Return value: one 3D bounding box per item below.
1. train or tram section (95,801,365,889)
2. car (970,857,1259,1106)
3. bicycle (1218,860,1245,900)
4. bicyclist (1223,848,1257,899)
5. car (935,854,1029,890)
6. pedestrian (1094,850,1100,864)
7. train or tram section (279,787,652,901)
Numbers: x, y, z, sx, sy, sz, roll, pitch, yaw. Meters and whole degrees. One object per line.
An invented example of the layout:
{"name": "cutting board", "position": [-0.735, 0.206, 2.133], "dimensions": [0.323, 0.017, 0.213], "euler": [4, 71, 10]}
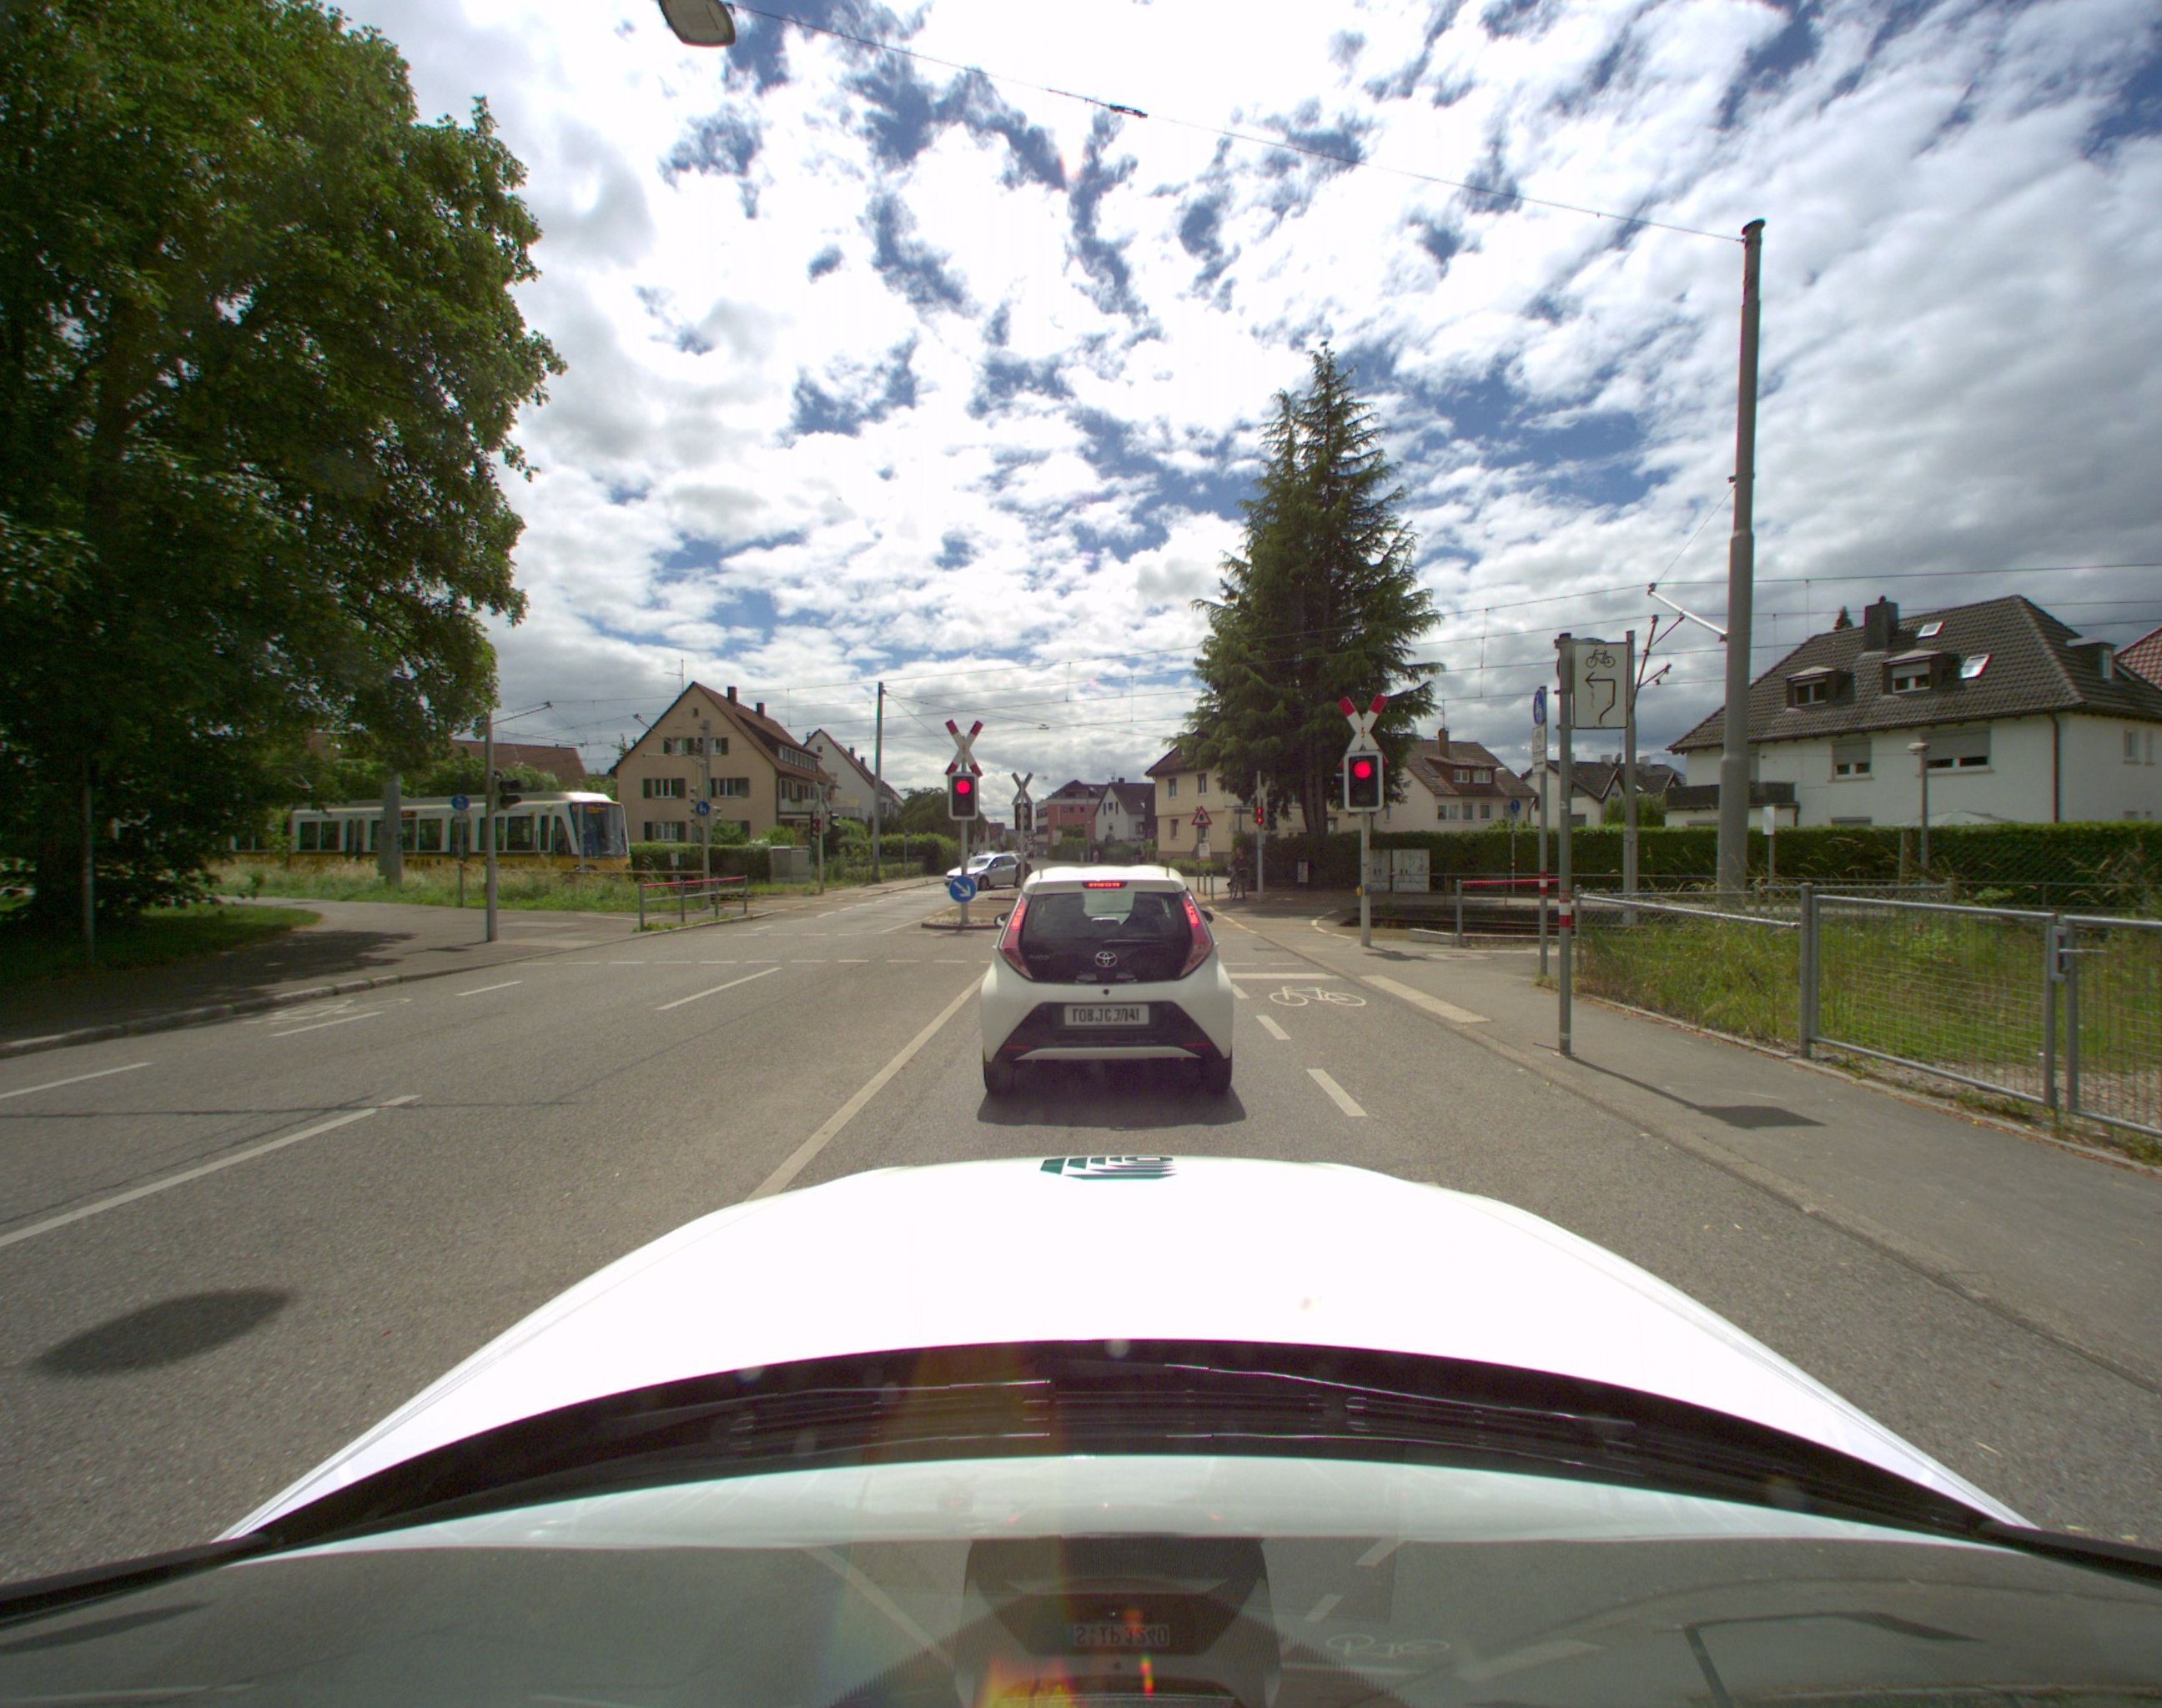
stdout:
{"name": "train or tram section", "position": [-41.763, -0.412, 39.566], "dimensions": [18.885, 3.704, 2.936], "euler": [0, 1, 24]}
{"name": "car", "position": [0.162, 0.760, 6.703], "dimensions": [1.716, 1.442, 3.706], "euler": [0, 0, -2]}
{"name": "bicycle", "position": [4.848, 0.822, 26.285], "dimensions": [0.456, 1.172, 1.477], "euler": [-3, 2, -4]}
{"name": "bicyclist", "position": [5.100, 0.617, 26.210], "dimensions": [0.839, 1.553, 0.755], "euler": [-3, 2, -4]}
{"name": "car", "position": [-4.149, 0.738, 34.773], "dimensions": [1.887, 1.441, 4.124], "euler": [0, 0, 30]}
{"name": "pedestrian", "position": [1.876, 0.343, 94.207], "dimensions": [0.723, 1.576, 0.804], "euler": [0, 0, 2]}
{"name": "train or tram section", "position": [-24.585, -0.366, 31.761], "dimensions": [18.885, 3.704, 2.936], "euler": [0, 1, 24]}
